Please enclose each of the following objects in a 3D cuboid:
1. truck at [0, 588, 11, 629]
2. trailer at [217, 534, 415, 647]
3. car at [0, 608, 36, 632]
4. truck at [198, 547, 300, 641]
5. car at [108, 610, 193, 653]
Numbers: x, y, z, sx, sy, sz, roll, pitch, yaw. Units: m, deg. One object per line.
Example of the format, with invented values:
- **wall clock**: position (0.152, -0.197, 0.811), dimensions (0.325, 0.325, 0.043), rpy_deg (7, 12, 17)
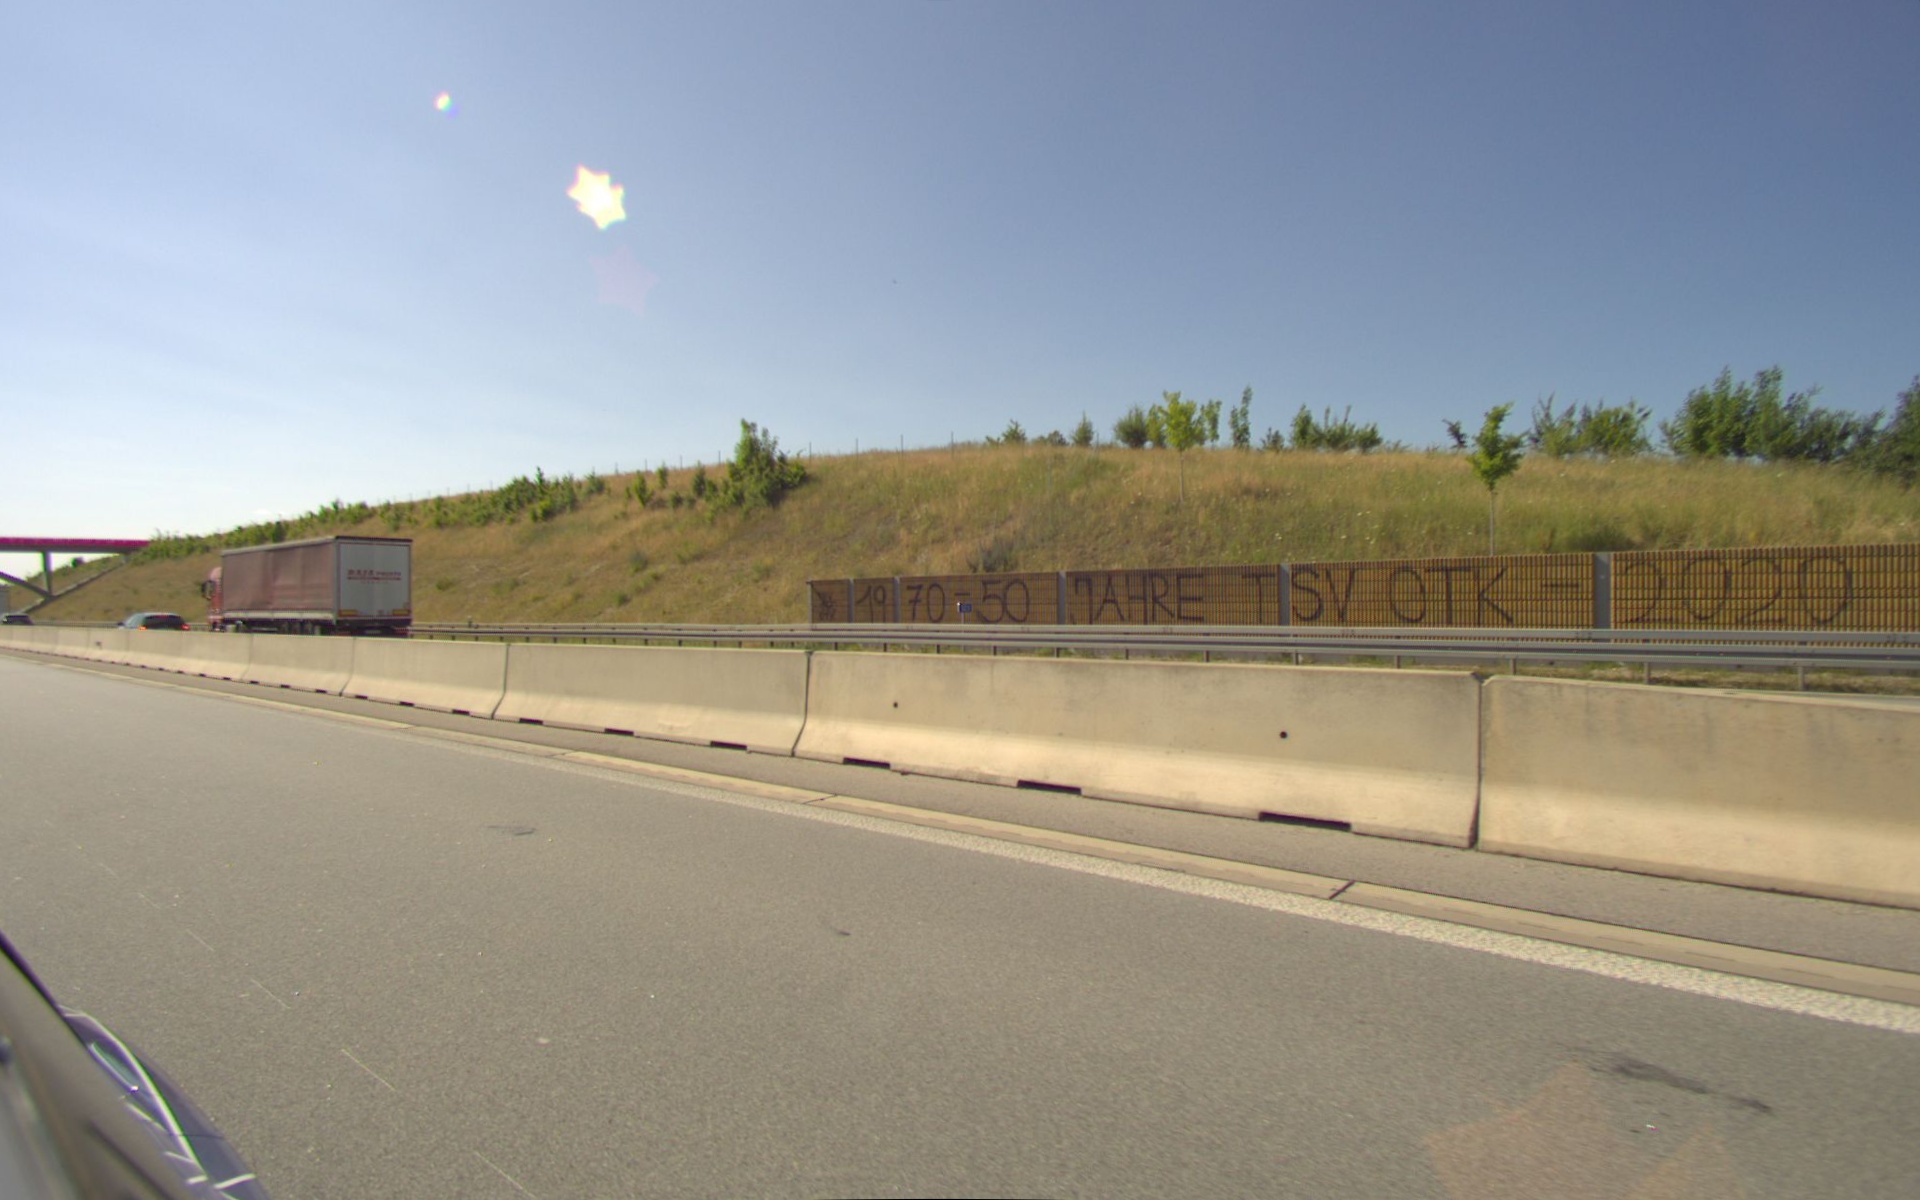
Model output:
- **truck**: position (-106.273, 0.973, 110.230), dimensions (12.728, 4.342, 2.984), rpy_deg (-1, 0, 41)
- **trailer**: position (-25.937, -0.278, 40.236), dimensions (13.723, 3.905, 2.611), rpy_deg (-1, 0, 40)
- **car**: position (-63.574, 1.348, 67.991), dimensions (4.159, 1.516, 1.669), rpy_deg (-1, 0, 40)
- **truck**: position (-31.669, -0.247, 45.044), dimensions (4.891, 3.952, 2.610), rpy_deg (-1, 0, 41)
- **car**: position (-32.140, 1.221, 40.154), dimensions (4.655, 1.605, 1.778), rpy_deg (-1, 0, 40)
